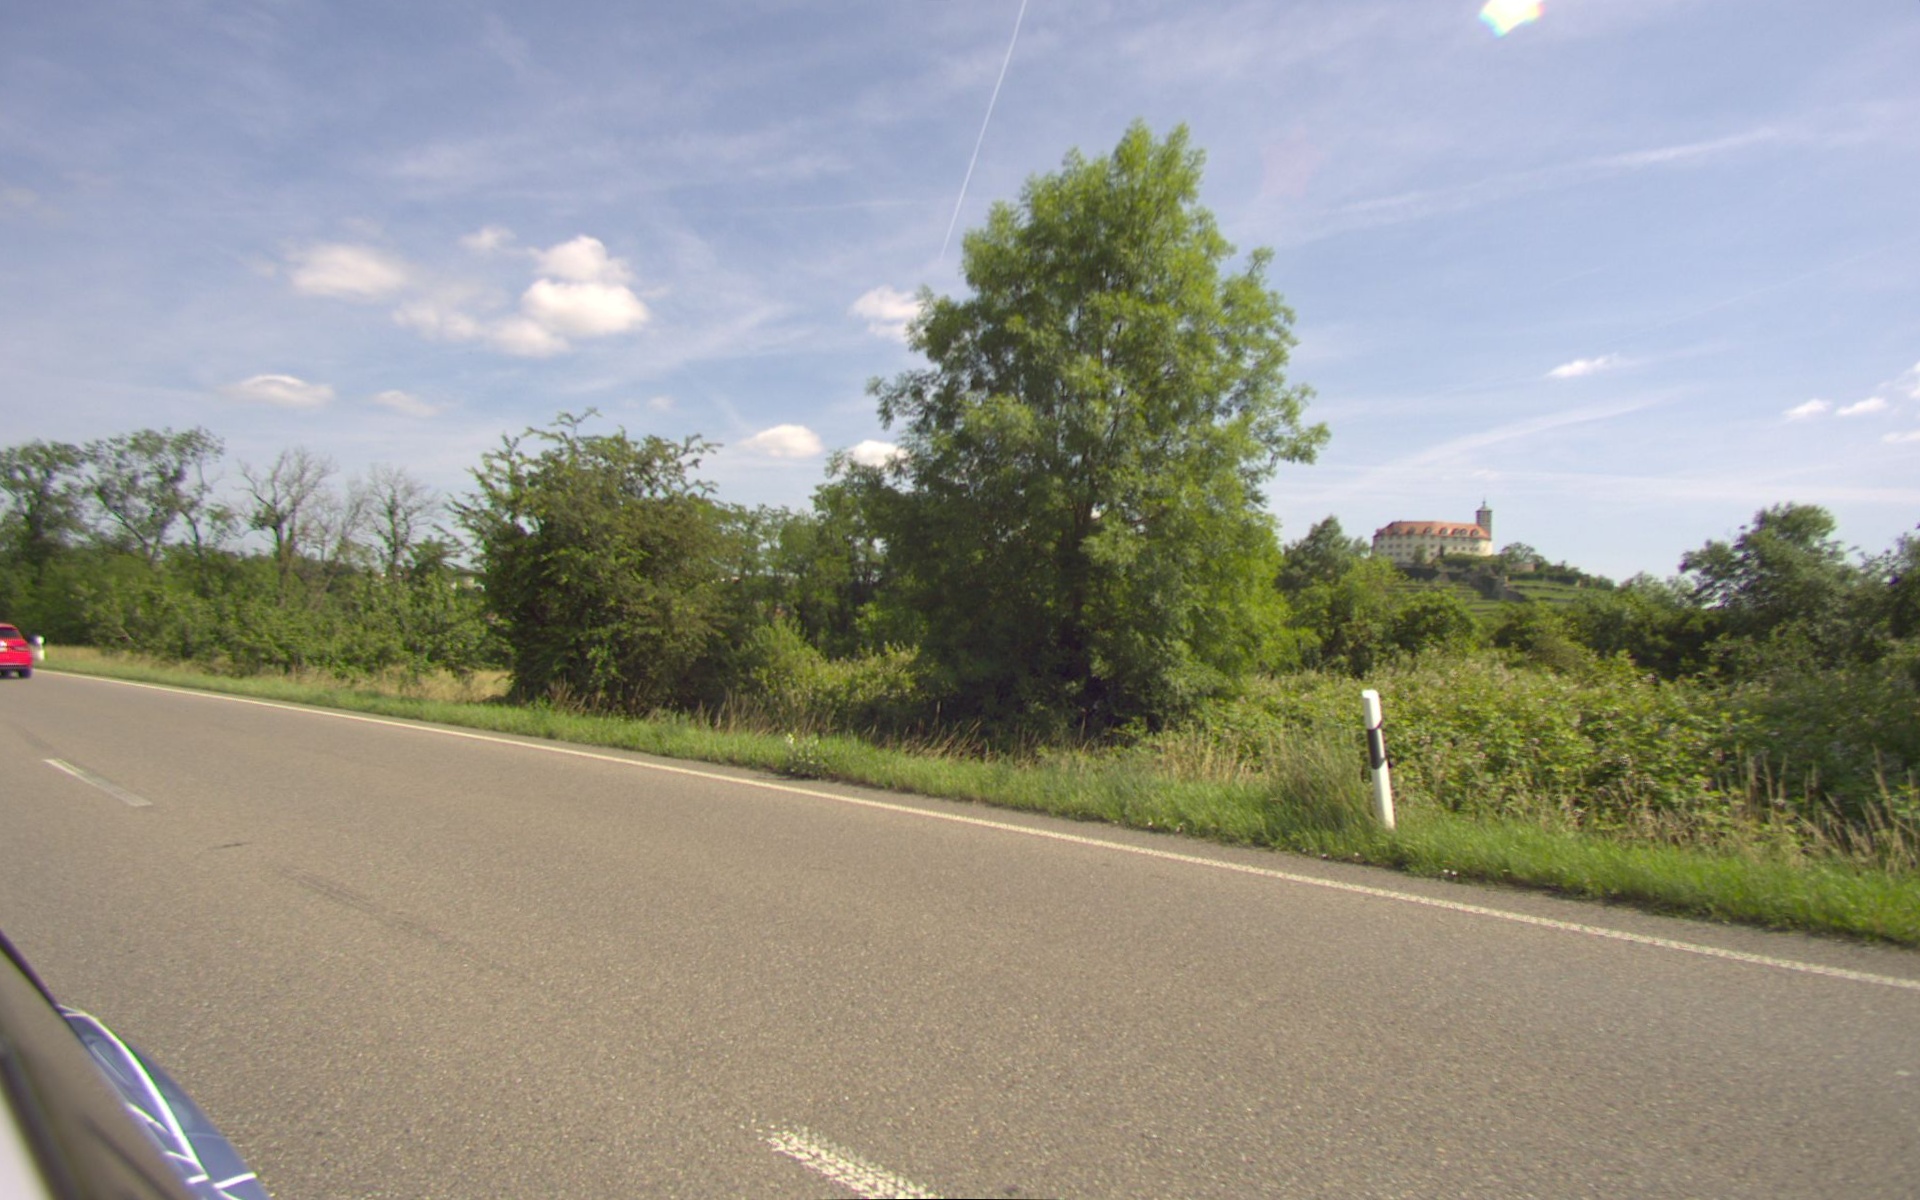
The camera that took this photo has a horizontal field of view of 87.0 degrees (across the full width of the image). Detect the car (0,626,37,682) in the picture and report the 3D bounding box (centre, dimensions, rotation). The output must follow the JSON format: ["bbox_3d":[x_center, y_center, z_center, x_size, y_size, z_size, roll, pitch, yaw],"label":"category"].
[{"bbox_3d":[-25.780,1.372,26.425,4.177,1.409,1.803,-1,-3,38],"label":"car"}]
